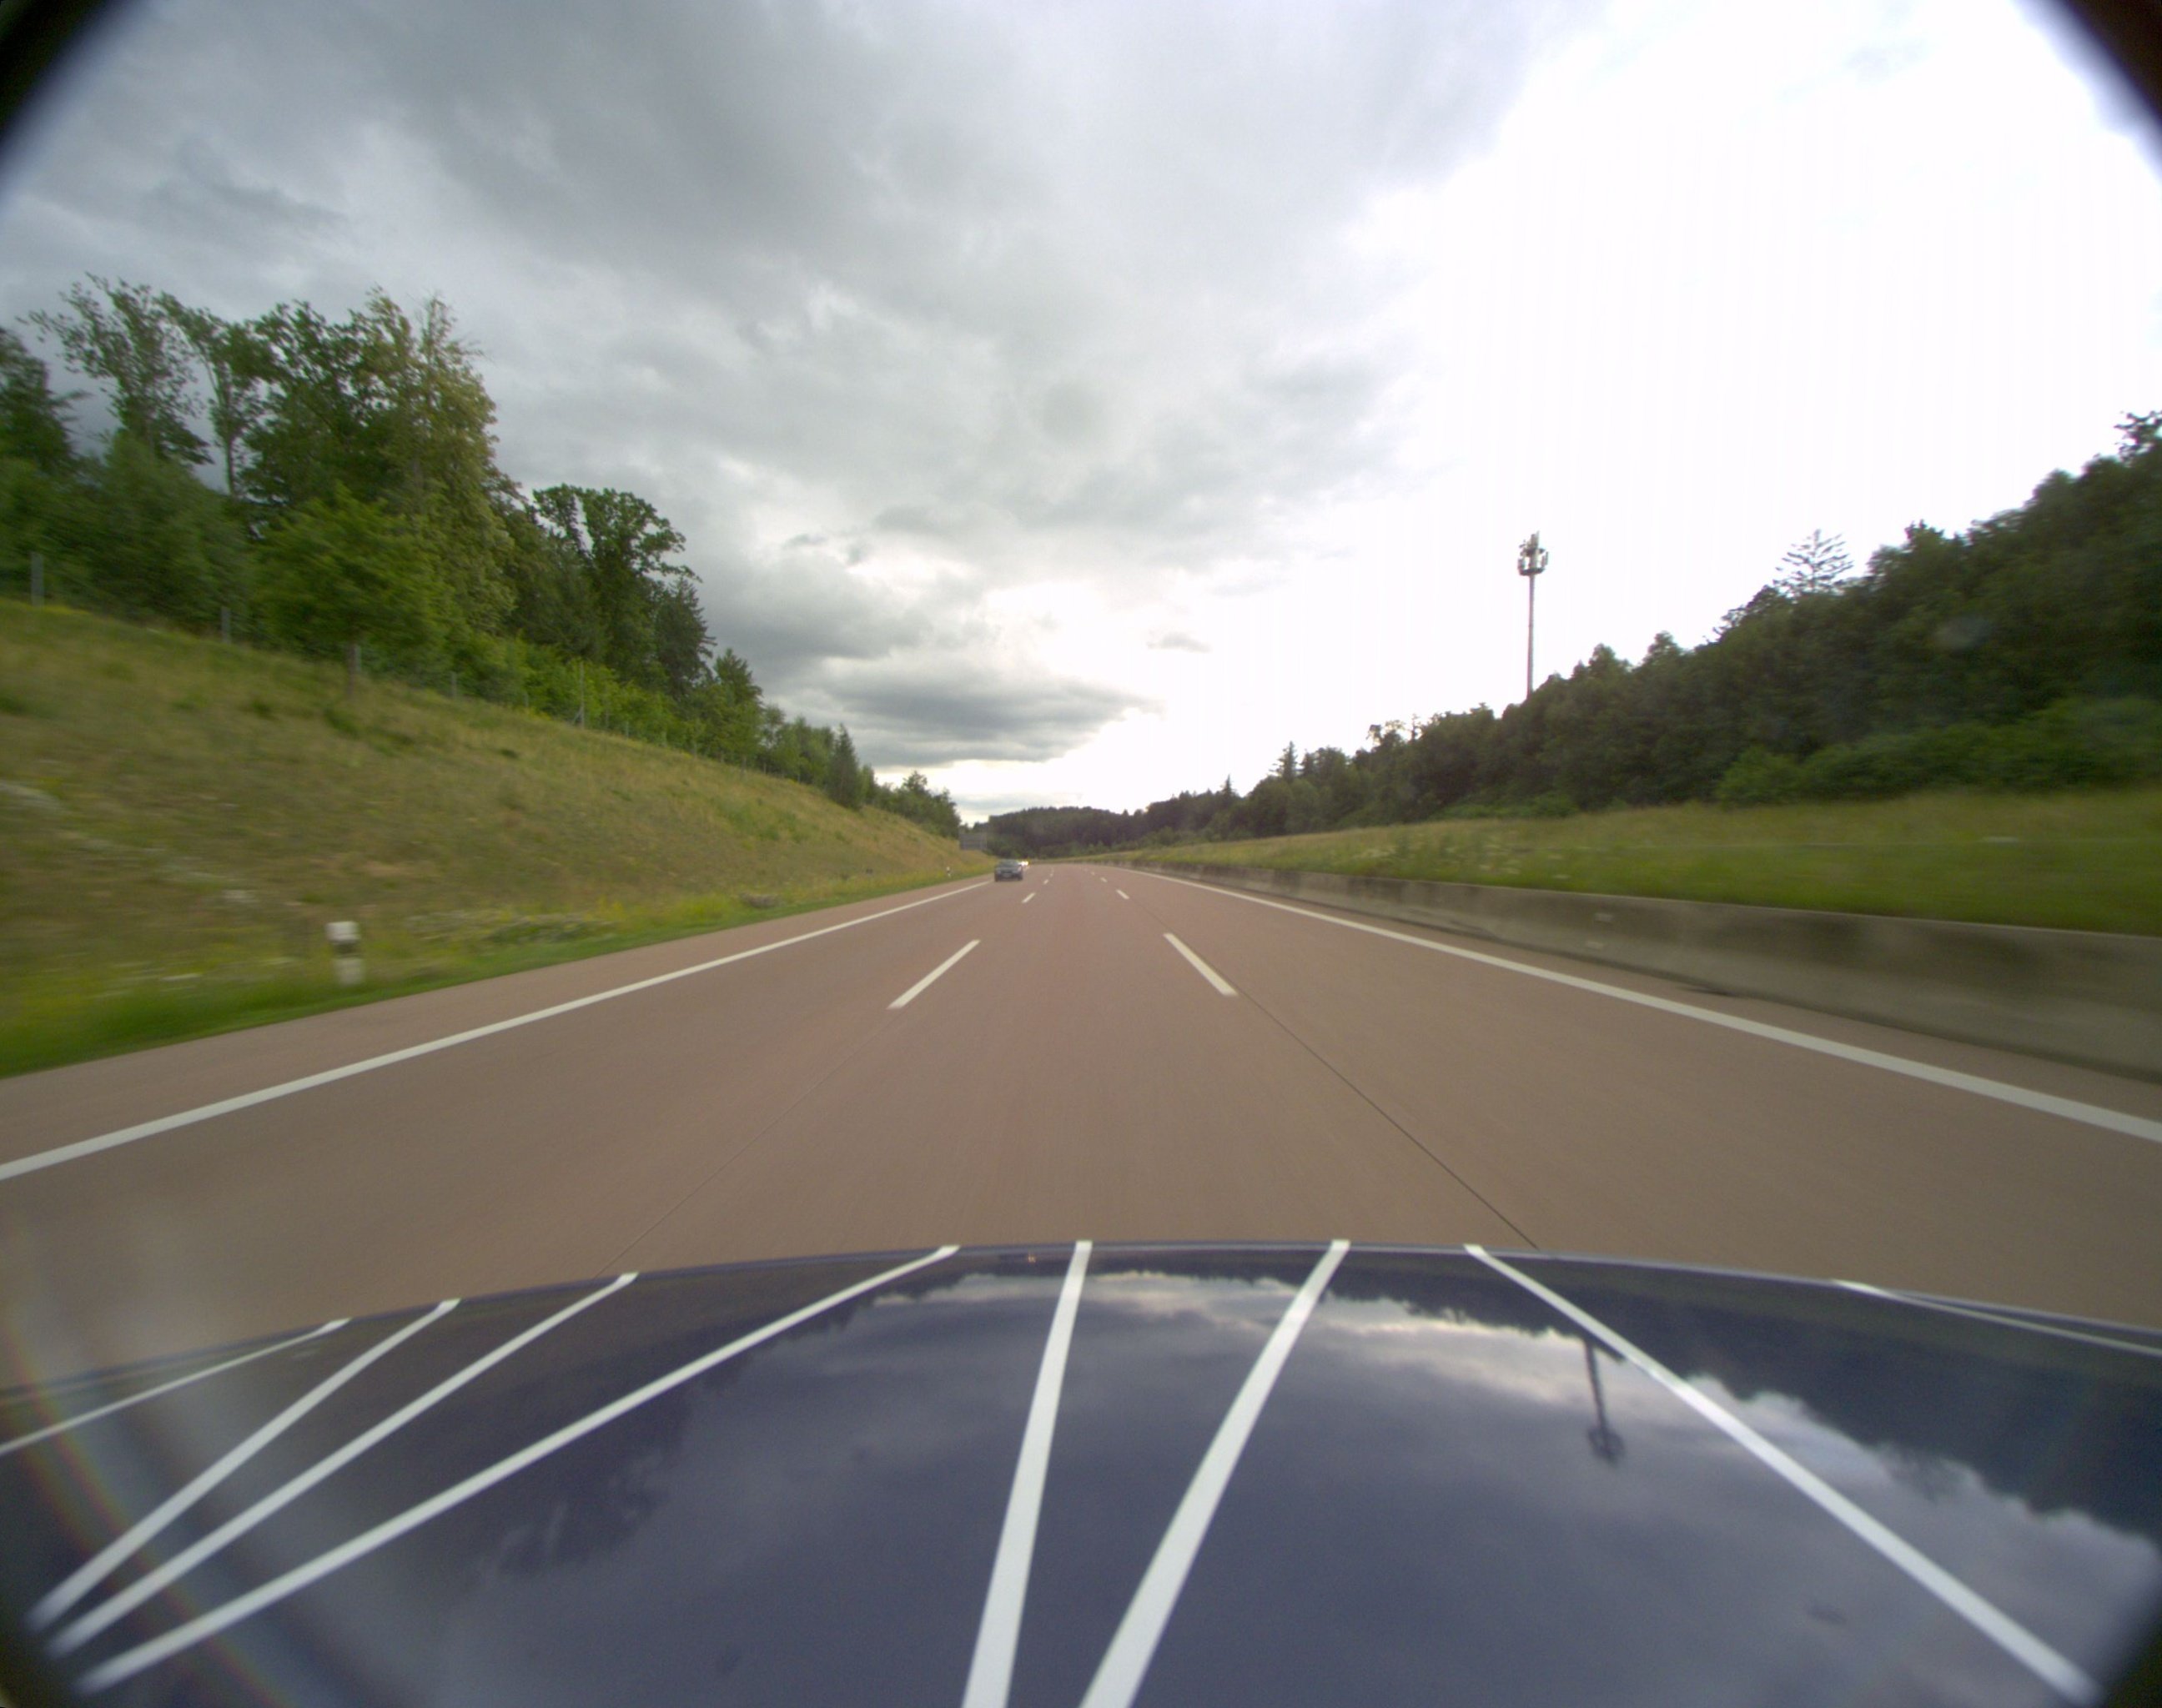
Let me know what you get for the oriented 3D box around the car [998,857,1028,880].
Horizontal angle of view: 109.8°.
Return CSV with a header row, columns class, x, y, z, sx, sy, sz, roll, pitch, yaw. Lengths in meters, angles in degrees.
class,x,y,z,sx,sy,sz,roll,pitch,yaw
car,-4.598,0.941,51.646,1.676,1.395,4.232,-1,1,-1
